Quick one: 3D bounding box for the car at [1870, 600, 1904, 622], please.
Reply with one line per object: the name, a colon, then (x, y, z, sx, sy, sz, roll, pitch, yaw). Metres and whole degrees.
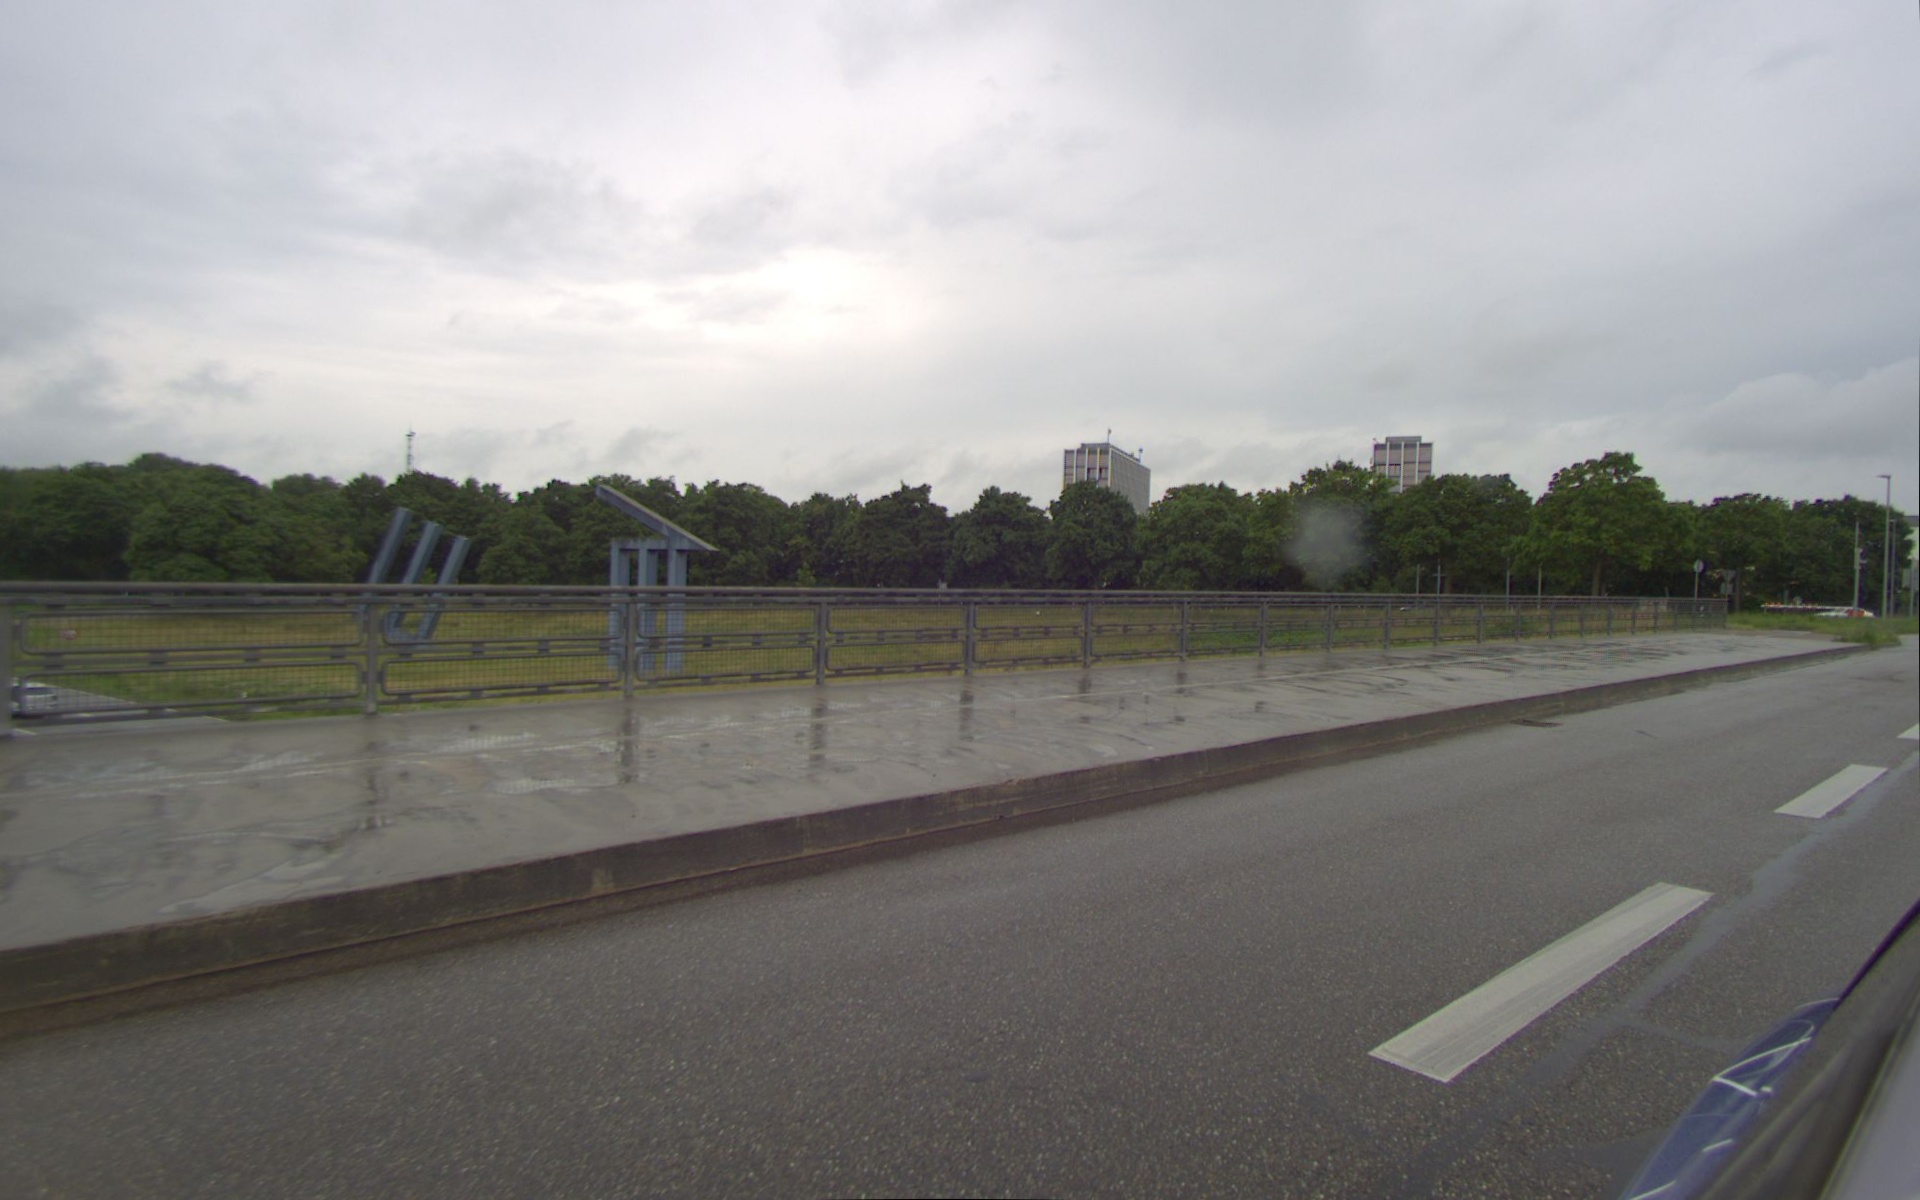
car: (78.431, 0.942, 85.634, 3.932, 1.772, 1.838, 0, 1, -43)
